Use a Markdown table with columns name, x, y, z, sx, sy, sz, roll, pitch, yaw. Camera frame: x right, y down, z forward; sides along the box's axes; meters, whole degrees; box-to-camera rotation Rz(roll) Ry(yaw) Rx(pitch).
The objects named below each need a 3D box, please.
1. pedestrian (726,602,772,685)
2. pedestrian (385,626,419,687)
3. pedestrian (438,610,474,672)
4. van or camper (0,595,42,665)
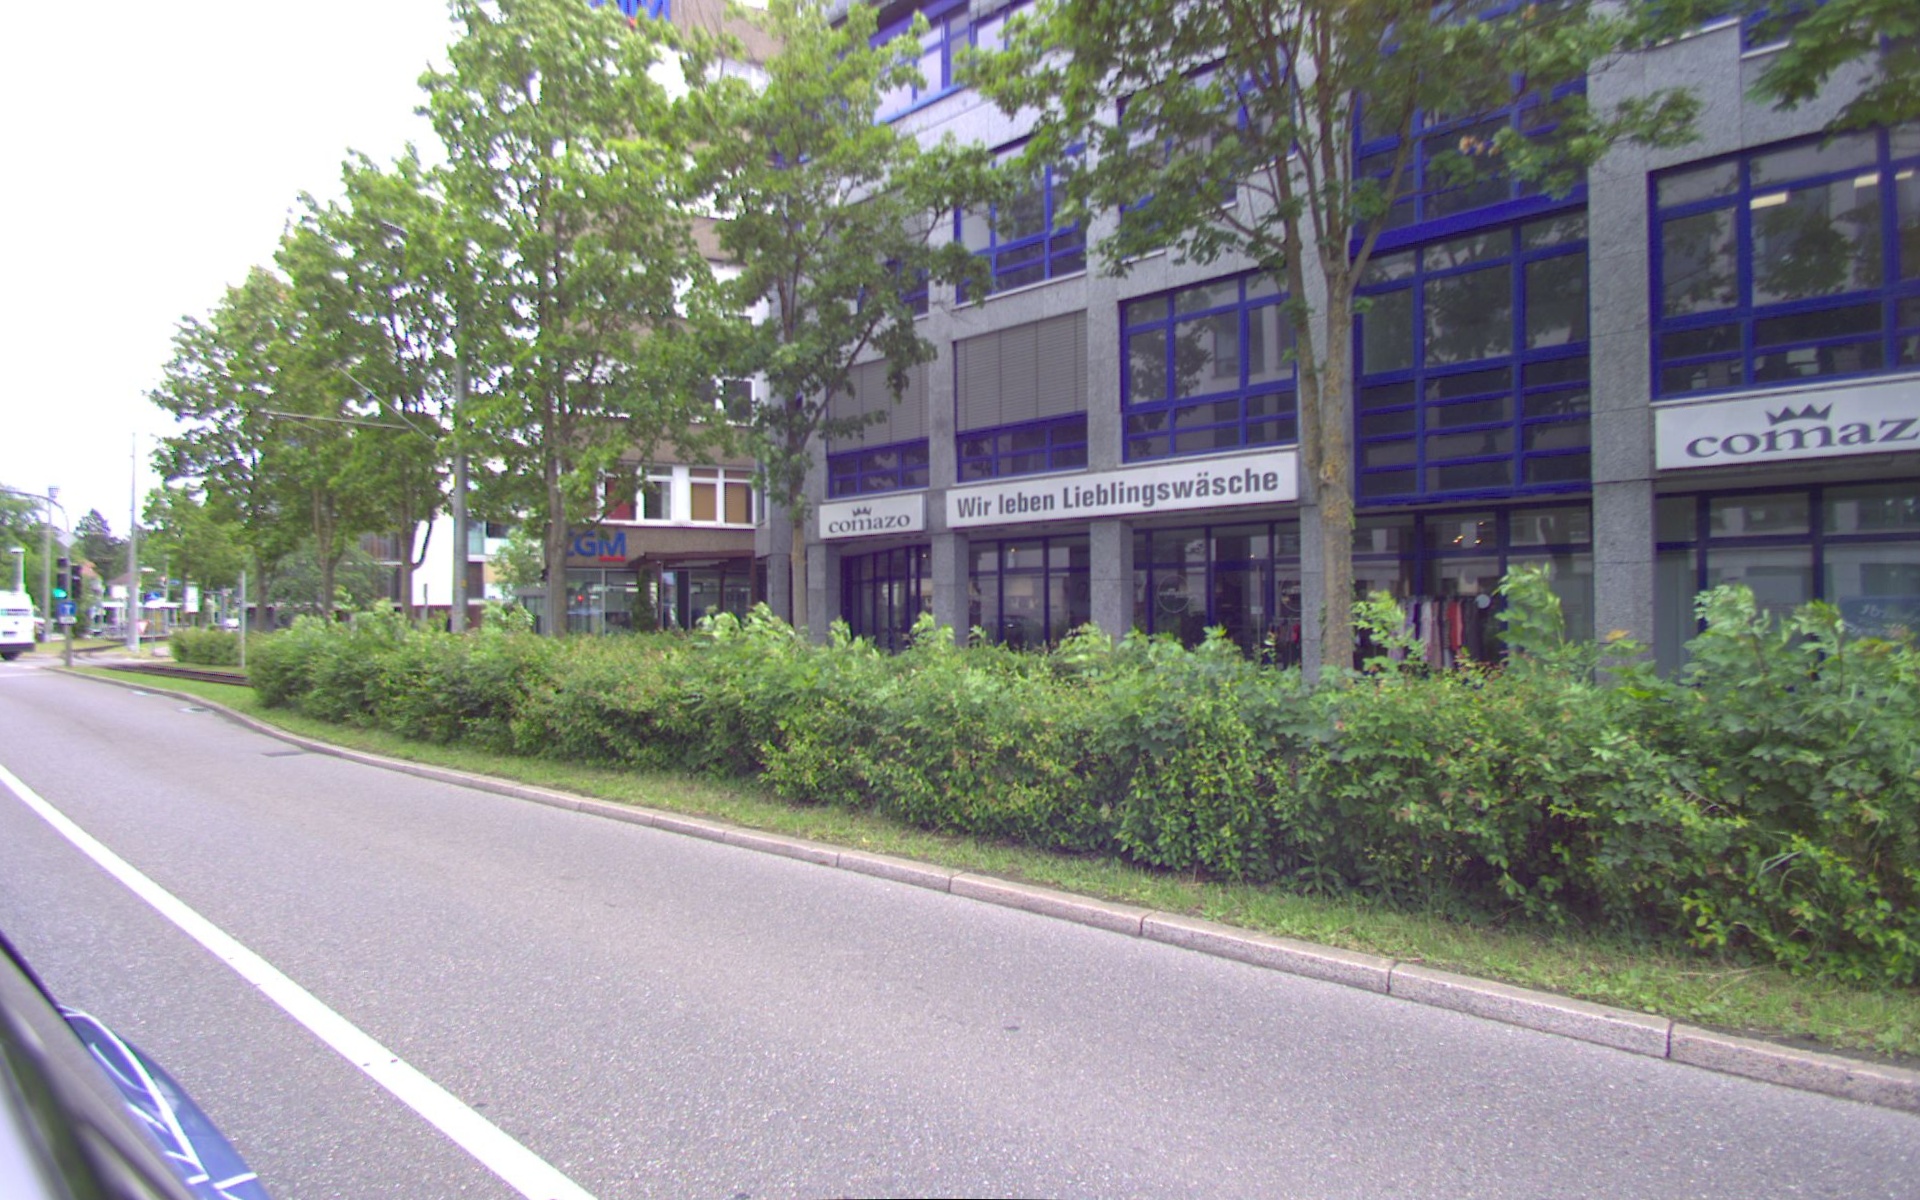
| name | x | y | z | sx | sy | sz | roll | pitch | yaw |
| --- | --- | --- | --- | --- | --- | --- | --- | --- | --- |
| pedestrian | -4.971 | 1.001 | 23.849 | 0.731 | 1.908 | 0.766 | -1 | 0 | 40 |
| pedestrian | -17.153 | 1.712 | 31.105 | 0.730 | 1.819 | 0.672 | -1 | 0 | 37 |
| pedestrian | -16.170 | 1.292 | 32.475 | 0.731 | 1.938 | 0.805 | -1 | 0 | 40 |
| van or camper | -41.047 | 1.213 | 40.908 | 6.066 | 2.754 | 2.114 | 0 | 0 | 1 |
